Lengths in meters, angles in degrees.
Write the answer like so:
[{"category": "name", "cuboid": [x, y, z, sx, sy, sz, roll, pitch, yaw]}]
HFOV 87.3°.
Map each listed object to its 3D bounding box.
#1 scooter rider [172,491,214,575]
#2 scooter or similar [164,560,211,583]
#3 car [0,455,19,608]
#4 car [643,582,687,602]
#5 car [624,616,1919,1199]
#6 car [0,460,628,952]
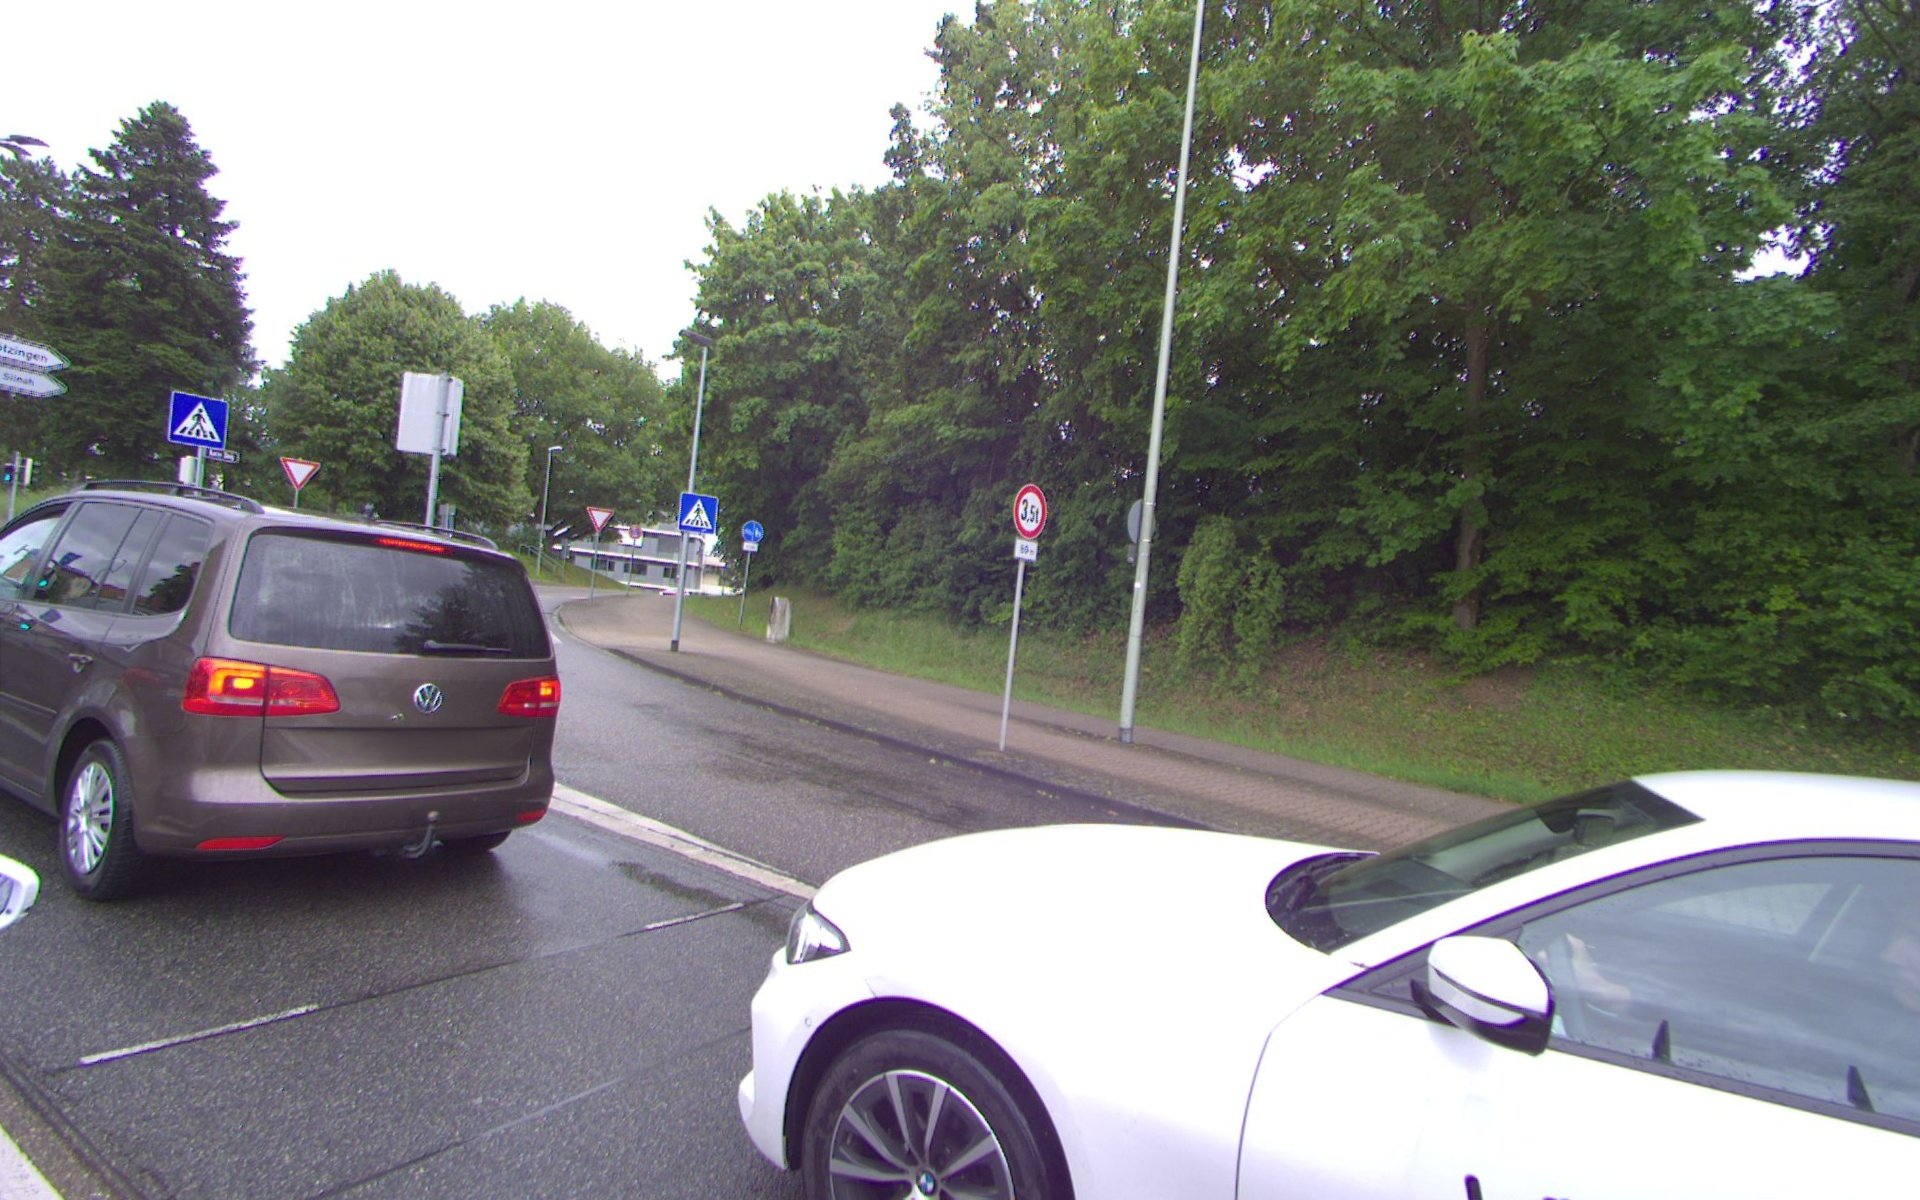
[{"category": "scooter rider", "cuboid": [-18.975, -1.661, 24.882, 0.538, 1.990, 0.501, 7, 1, 31]}, {"category": "scooter or similar", "cuboid": [-19.160, -0.710, 24.949, 1.235, 0.408, 0.487, 7, 0, 31]}, {"category": "car", "cuboid": [-11.239, -0.706, 9.918, 3.741, 1.899, 1.768, 7, -1, 31]}, {"category": "car", "cuboid": [-24.846, -0.688, 84.833, 1.817, 1.447, 4.000, 5, 0, 11]}, {"category": "car", "cuboid": [1.674, 1.069, 2.061, 4.601, 1.474, 1.783, 6, -1, 30]}, {"category": "car", "cuboid": [-3.808, 0.278, 5.175, 3.915, 1.628, 1.750, 6, -1, 32]}]
